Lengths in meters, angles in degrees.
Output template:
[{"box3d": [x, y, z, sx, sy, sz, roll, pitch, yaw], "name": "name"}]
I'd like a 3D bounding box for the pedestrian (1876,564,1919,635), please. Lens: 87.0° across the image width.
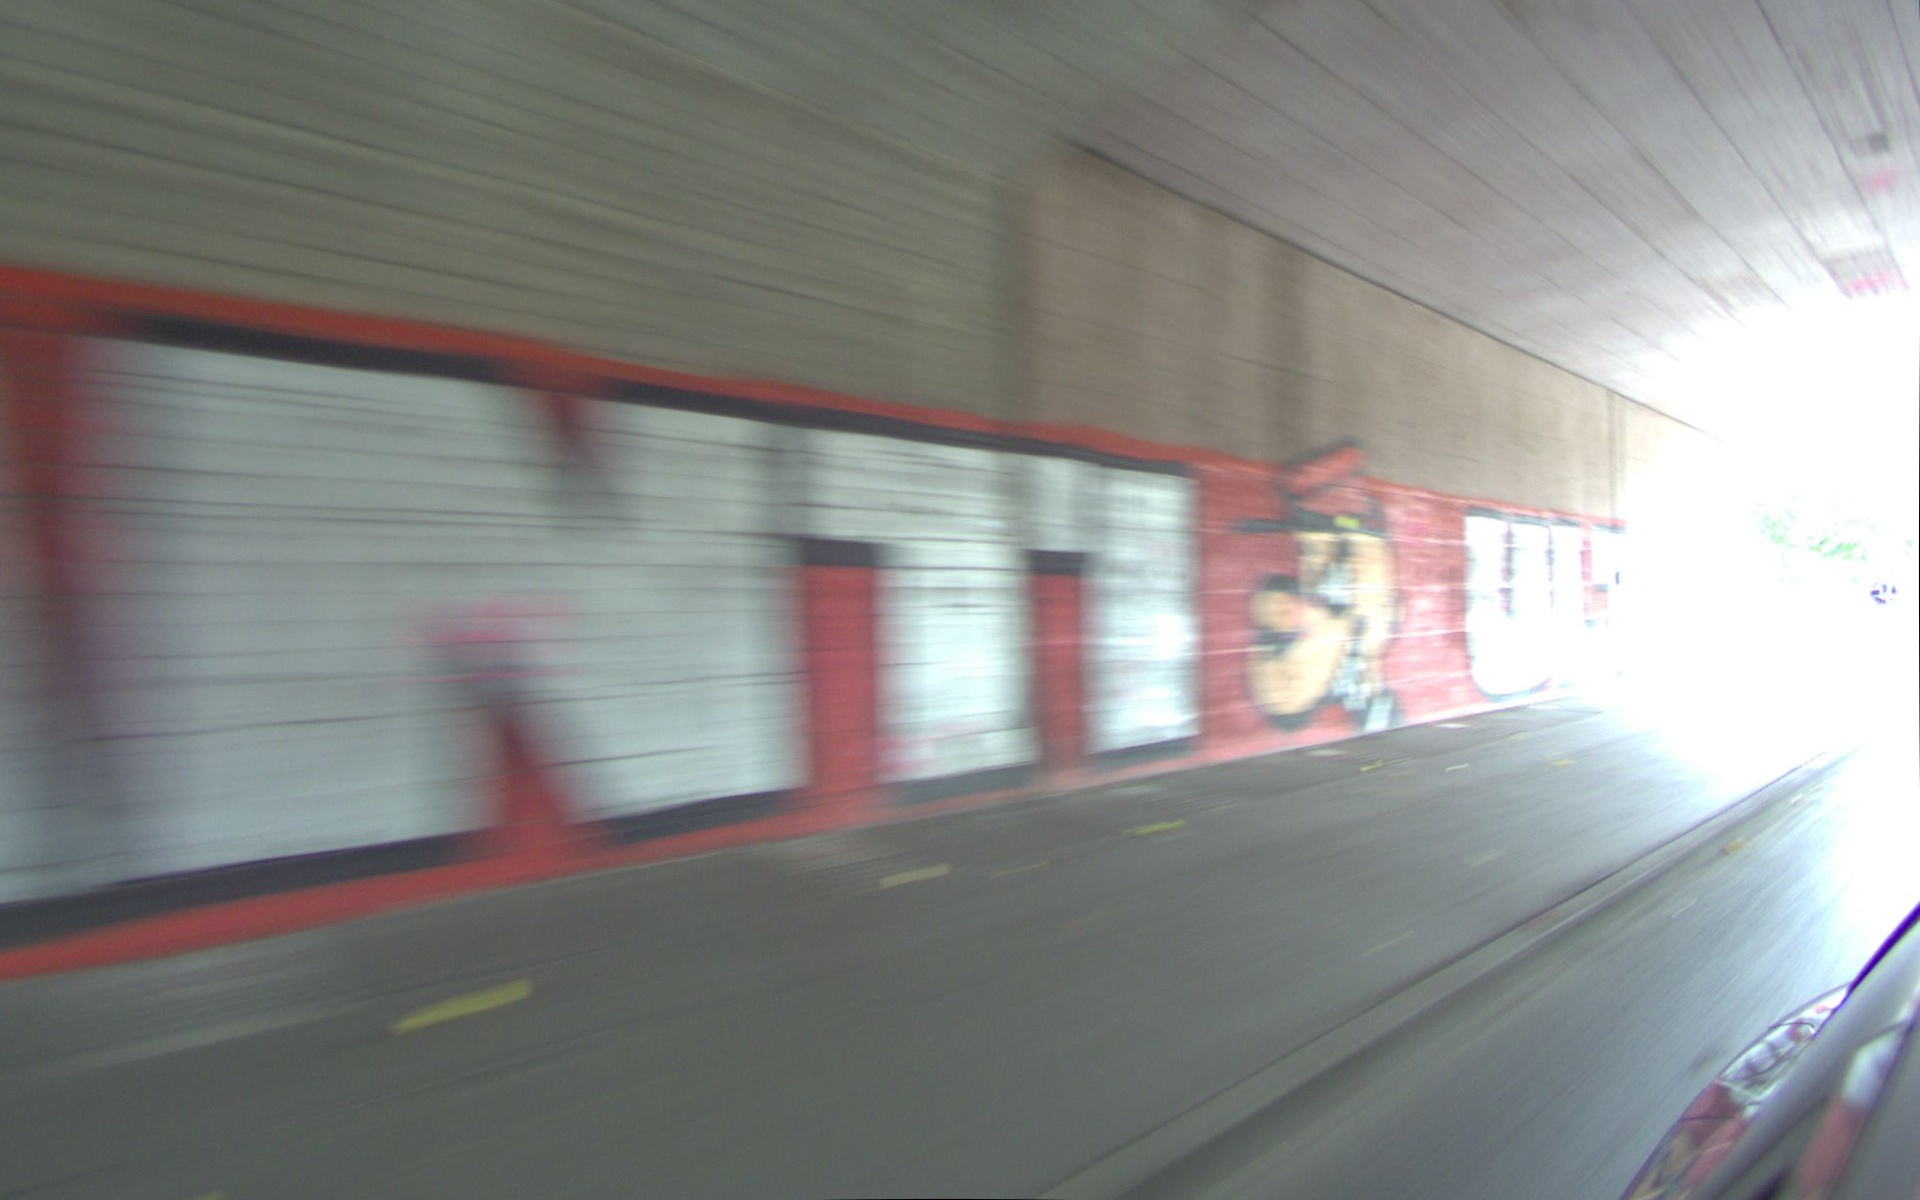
[{"box3d": [26.060, -0.034, 28.080, 0.818, 1.903, 1.164, 2, 2, 38], "name": "pedestrian"}]
